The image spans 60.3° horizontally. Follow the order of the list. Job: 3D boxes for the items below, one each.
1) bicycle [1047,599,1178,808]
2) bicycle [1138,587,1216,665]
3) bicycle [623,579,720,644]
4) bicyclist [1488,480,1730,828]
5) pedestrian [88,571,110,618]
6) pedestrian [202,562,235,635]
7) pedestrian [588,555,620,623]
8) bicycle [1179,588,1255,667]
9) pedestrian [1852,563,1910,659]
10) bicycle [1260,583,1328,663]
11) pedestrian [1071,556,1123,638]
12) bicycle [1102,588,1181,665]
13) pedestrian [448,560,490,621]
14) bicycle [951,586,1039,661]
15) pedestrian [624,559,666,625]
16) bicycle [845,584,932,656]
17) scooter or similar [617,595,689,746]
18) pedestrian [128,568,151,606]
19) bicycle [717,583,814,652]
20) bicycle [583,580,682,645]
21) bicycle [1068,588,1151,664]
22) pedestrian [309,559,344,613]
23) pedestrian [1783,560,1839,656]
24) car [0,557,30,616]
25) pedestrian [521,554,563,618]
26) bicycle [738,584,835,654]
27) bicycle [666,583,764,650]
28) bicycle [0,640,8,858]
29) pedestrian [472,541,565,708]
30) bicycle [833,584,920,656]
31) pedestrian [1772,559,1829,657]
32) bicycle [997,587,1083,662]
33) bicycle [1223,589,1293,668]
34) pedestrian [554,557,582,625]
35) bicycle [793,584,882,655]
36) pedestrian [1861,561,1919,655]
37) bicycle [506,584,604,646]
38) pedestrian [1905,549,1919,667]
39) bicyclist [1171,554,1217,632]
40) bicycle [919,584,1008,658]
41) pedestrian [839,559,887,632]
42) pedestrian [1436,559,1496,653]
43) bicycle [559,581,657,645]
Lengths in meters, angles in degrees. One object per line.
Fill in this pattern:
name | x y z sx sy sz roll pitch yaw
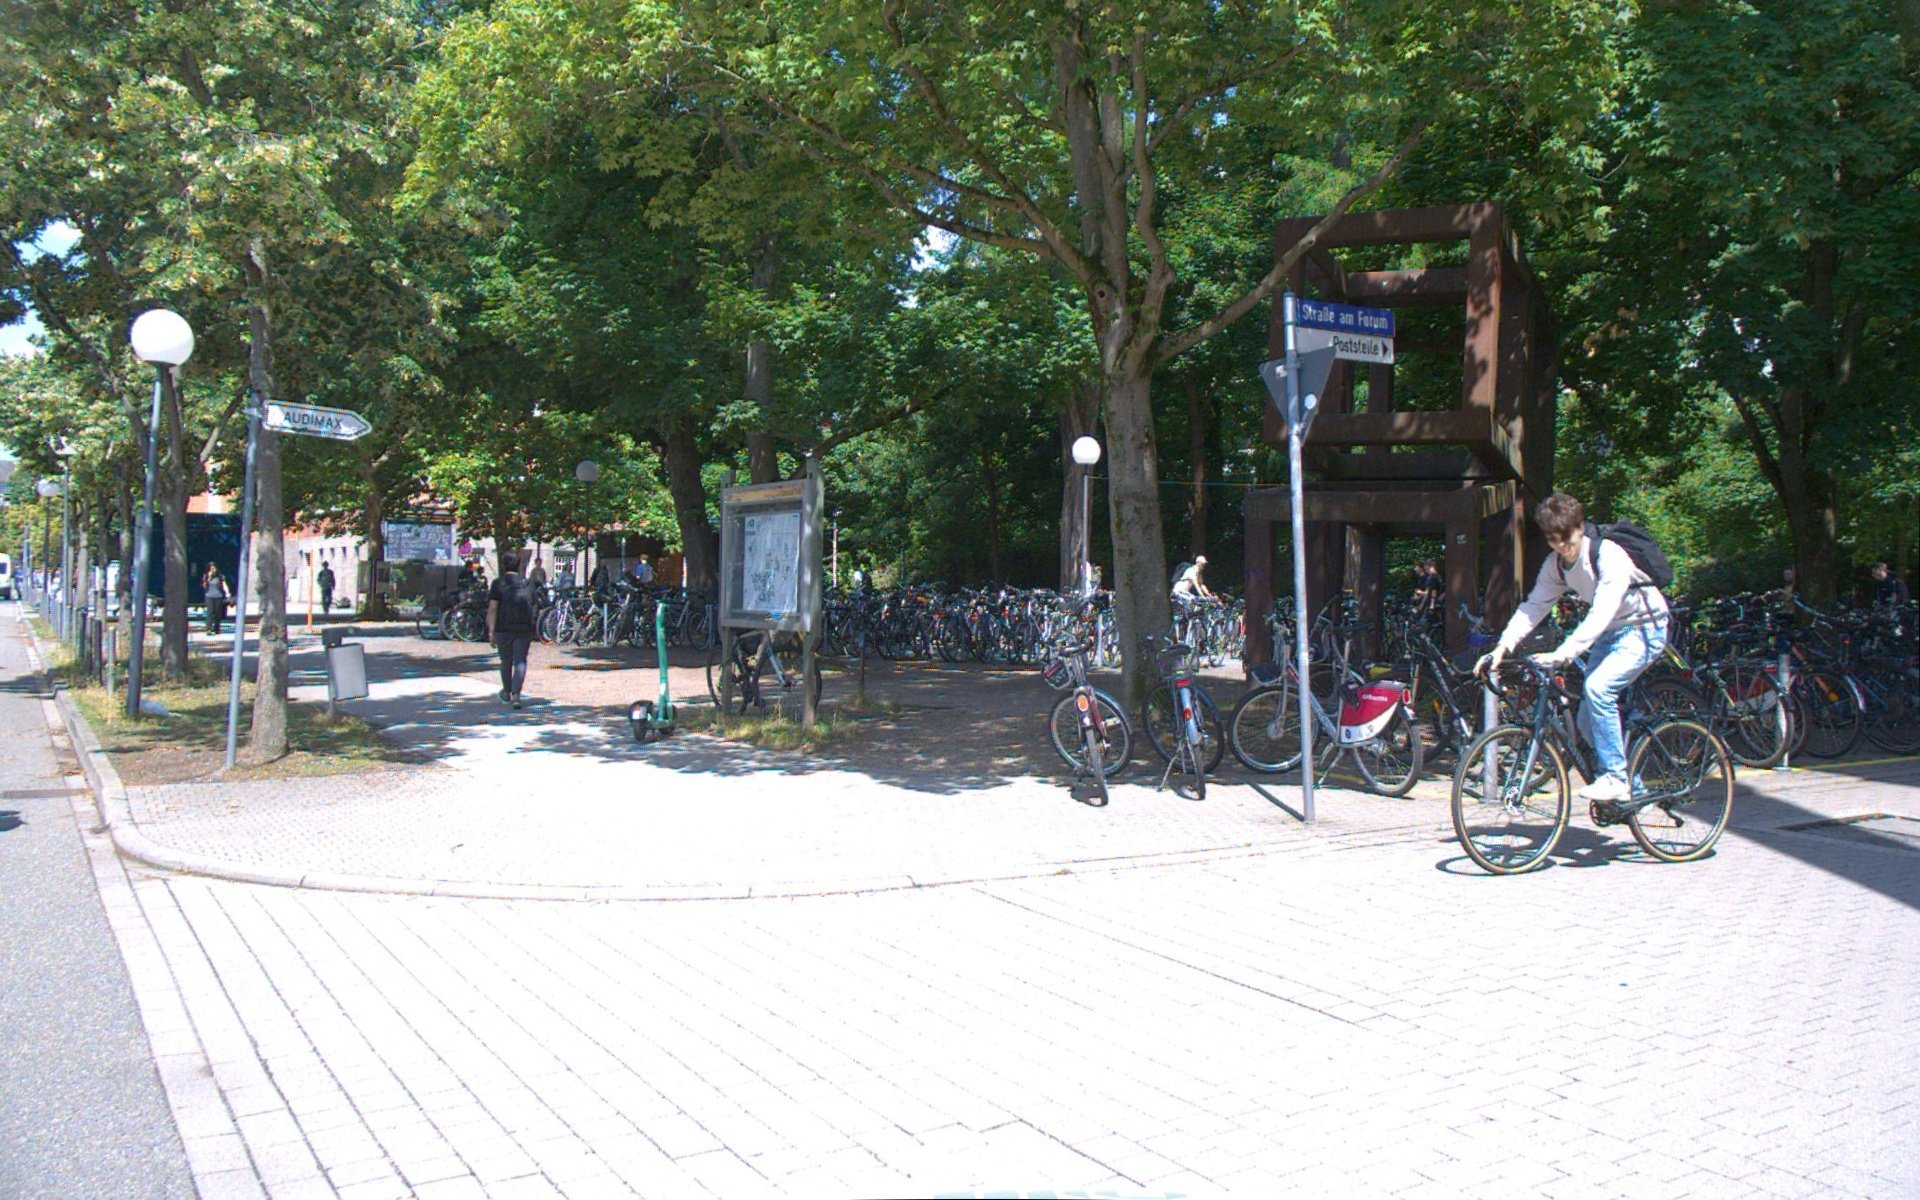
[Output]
bicycle | 0.940 0.605 10.542 0.624 1.179 1.629 -1 1 -2
bicycle | 3.312 0.373 25.094 0.492 1.127 1.904 2 1 29
bicycle | -5.196 0.196 29.899 0.492 1.127 2.025 2 1 32
bicyclist | 3.110 0.243 7.981 0.855 1.600 0.640 1 2 -7
pedestrian | -28.485 -0.181 54.717 0.613 1.546 0.729 1 1 -28
pedestrian | -16.026 -0.031 35.748 0.561 1.546 0.836 1 1 -21
pedestrian | -9.663 -0.296 44.888 0.604 1.805 0.650 1 1 -40
bicycle | 3.911 0.402 25.085 0.492 1.127 1.904 2 1 29
pedestrian | 17.790 0.207 31.959 0.886 1.805 0.769 2 1 26
bicycle | 4.975 0.326 24.537 0.491 1.127 1.905 2 1 26
pedestrian | 3.099 -0.074 37.440 0.759 1.805 0.898 1 1 -30
bicycle | 2.819 0.387 25.500 0.492 1.127 1.904 2 1 29
pedestrian | -14.663 -0.290 49.399 0.772 1.805 0.914 2 1 42
bicycle | 0.576 0.354 26.267 0.492 1.127 2.002 2 1 29
pedestrian | -8.916 -0.230 46.794 0.891 1.833 0.765 2 1 42
bicycle | -1.157 0.312 27.268 0.491 1.127 2.028 2 1 26
scooter or similar | -2.595 0.570 14.042 0.285 1.215 1.186 0 0 5
pedestrian | -40.312 -0.645 81.284 0.764 1.805 0.893 1 1 -43
bicycle | -3.337 0.291 28.552 0.492 1.127 2.025 2 1 32
bicycle | -5.960 0.216 30.200 0.492 1.127 2.025 2 1 32
bicycle | 2.338 0.386 25.725 0.492 1.127 2.002 2 1 29
pedestrian | -21.831 -0.486 57.001 0.891 1.805 0.765 2 1 42
pedestrian | 16.367 0.148 31.834 0.886 1.805 0.769 2 1 26
car | -52.034 -0.716 89.952 2.239 3.067 5.677 2 -1 -31
pedestrian | -11.908 -0.404 47.079 0.891 1.805 0.765 2 1 42
bicycle | -2.938 0.310 28.194 0.492 1.127 2.025 2 1 32
bicycle | -4.307 0.274 29.202 0.492 1.127 2.025 2 1 32
bicycle | -5.988 0.777 8.836 2.026 1.127 0.604 0 1 29
pedestrian | -4.672 0.246 17.489 0.719 1.713 0.864 0 0 -34
bicycle | -1.357 0.312 27.374 0.491 1.127 2.028 2 1 26
pedestrian | 15.848 0.139 31.194 0.886 1.805 0.769 2 1 26
bicycle | 1.271 0.366 25.994 0.492 1.127 2.002 2 1 29
bicycle | 4.466 0.408 24.708 0.491 1.127 1.905 2 1 26
pedestrian | -10.508 -0.234 44.332 0.497 1.802 0.662 1 1 -38
bicycle | -2.030 0.307 27.718 0.491 1.127 2.028 2 1 26
pedestrian | 17.469 0.143 31.053 0.886 1.709 0.769 2 1 26
bicycle | -7.668 0.269 31.393 0.492 1.127 2.025 2 1 32
pedestrian | 14.568 0.128 24.327 0.885 1.732 0.770 1 1 7
bicyclist | 4.897 -0.140 34.597 0.708 1.595 0.593 2 1 39
bicycle | 0.075 0.325 26.565 0.492 1.127 2.002 2 1 29
pedestrian | -2.443 -0.112 41.596 0.891 1.805 0.765 2 1 42
pedestrian | 9.946 0.104 32.503 0.889 1.805 0.767 2 1 37
bicycle | -6.479 0.232 30.539 0.492 1.127 2.025 2 1 32
